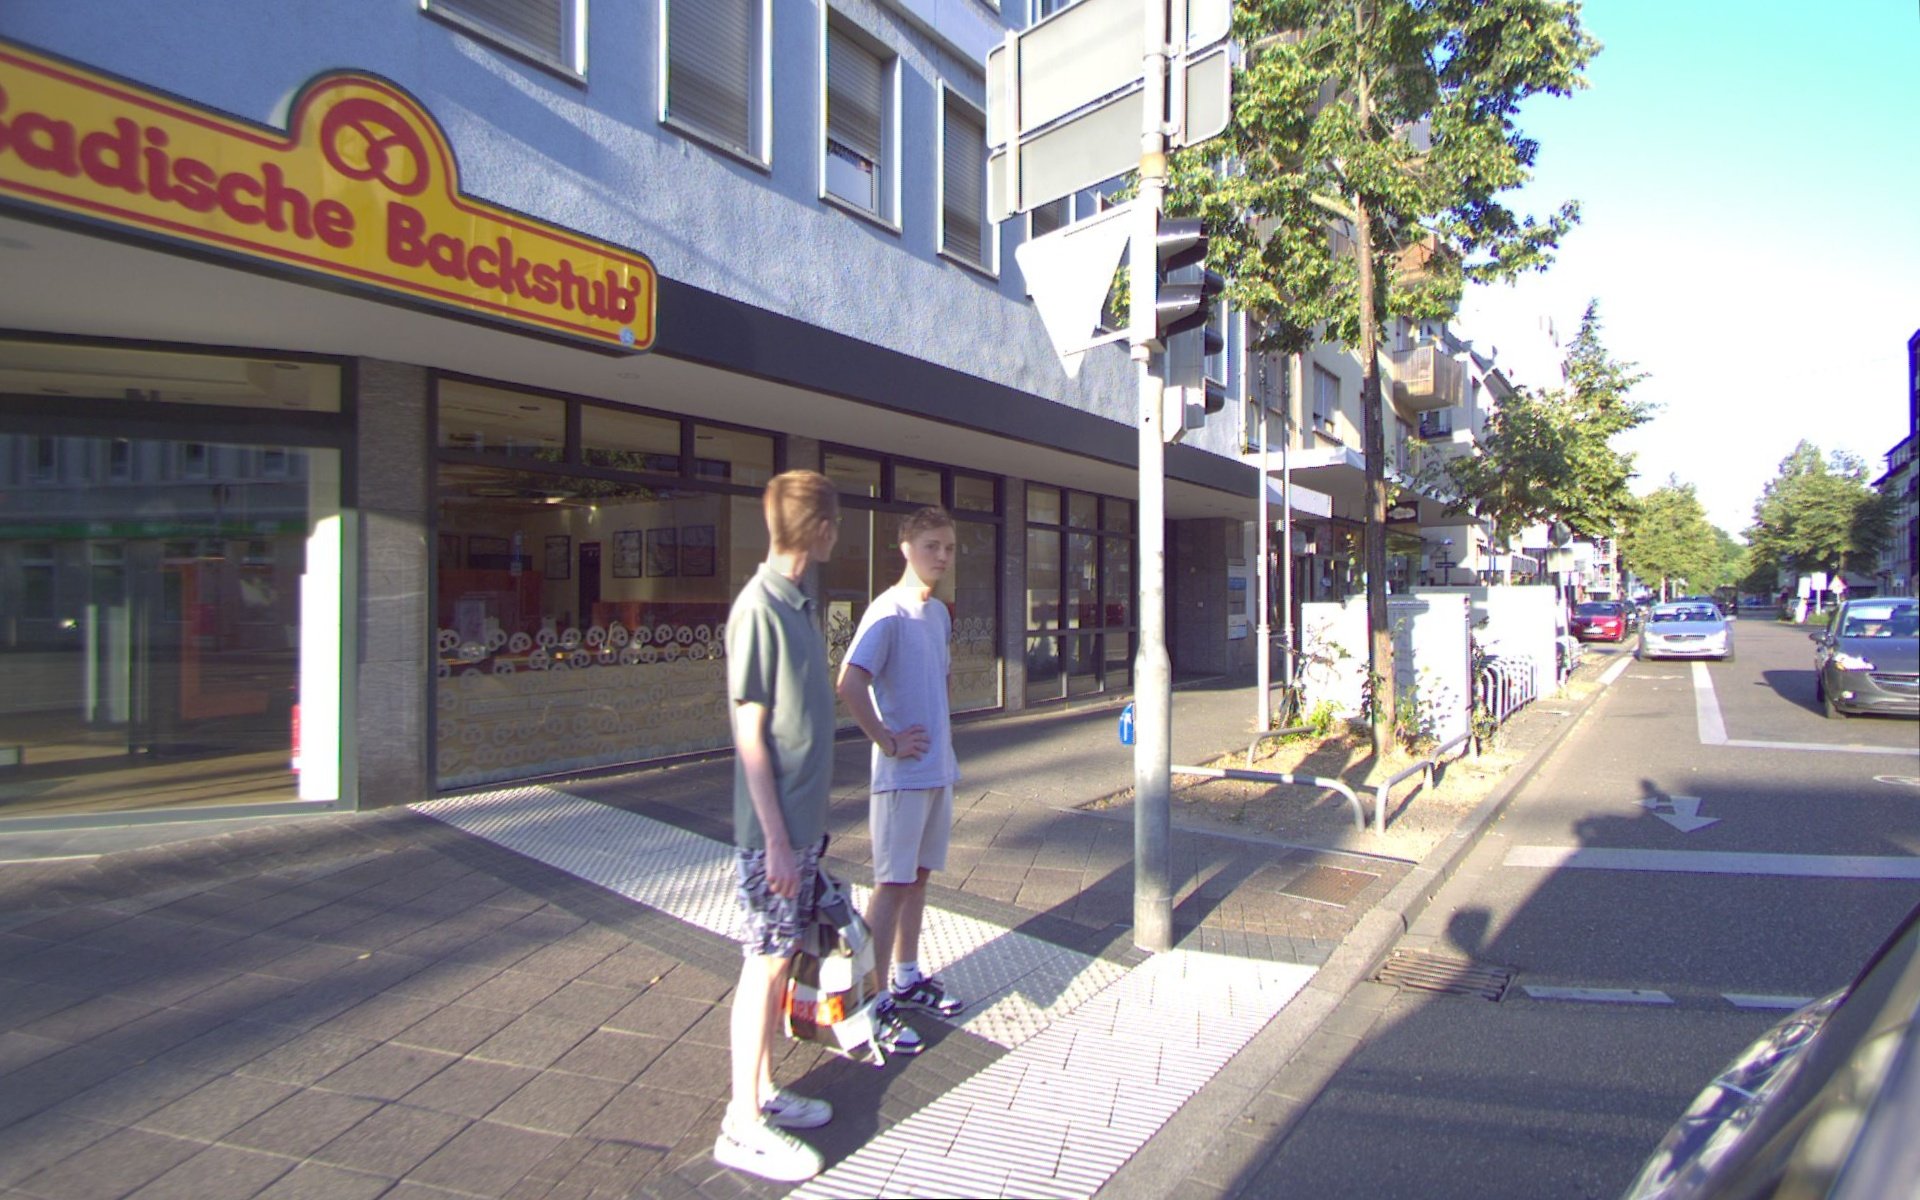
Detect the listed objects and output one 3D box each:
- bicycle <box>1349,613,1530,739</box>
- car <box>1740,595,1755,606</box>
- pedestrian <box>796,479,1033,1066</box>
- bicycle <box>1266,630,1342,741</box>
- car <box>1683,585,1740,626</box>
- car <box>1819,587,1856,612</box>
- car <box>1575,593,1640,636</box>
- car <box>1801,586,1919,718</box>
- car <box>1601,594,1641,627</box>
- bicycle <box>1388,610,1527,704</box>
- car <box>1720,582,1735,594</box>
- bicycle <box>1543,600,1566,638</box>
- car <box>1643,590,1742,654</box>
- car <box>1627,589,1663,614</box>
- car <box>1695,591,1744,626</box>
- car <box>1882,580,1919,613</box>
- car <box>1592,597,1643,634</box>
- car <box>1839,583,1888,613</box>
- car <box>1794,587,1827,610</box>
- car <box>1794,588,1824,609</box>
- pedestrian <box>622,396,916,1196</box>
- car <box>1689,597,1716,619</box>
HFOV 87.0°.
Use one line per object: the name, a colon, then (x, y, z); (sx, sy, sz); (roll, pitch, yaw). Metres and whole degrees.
bicycle: (4.924, 0.743, 10.439); (1.649, 1.209, 0.472); (0, -1, 33)
car: (138.316, 0.053, 177.811); (1.839, 1.829, 3.531); (-2, 0, 42)
pedestrian: (-0.128, 0.525, 3.550); (0.630, 1.795, 0.746); (0, 0, 16)
bicycle: (3.682, 0.860, 10.760); (0.401, 1.023, 1.652); (2, 1, 31)
car: (32.514, 0.211, 43.820); (1.886, 1.663, 3.701); (-1, 0, 36)
car: (64.580, -0.079, 74.541); (1.756, 1.795, 3.821); (0, 0, 37)
car: (23.161, 0.497, 36.143); (1.644, 1.447, 3.947); (-2, -1, 36)
car: (11.930, 0.564, 12.780); (1.577, 1.471, 3.797); (-1, 0, 33)
car: (31.203, 0.483, 47.729); (1.423, 1.469, 3.337); (-1, 0, 36)
bicycle: (6.641, 0.739, 13.585); (1.644, 1.209, 0.490); (0, 0, 25)
car: (112.853, -1.723, 148.817); (1.664, 1.660, 3.213); (-2, 0, 37)
bicycle: (20.594, 0.652, 35.060); (0.502, 1.253, 1.690); (1, 2, 36)
car: (18.041, 0.490, 24.906); (1.781, 1.387, 4.512); (-2, 0, 37)
car: (44.508, 0.058, 65.696); (1.756, 1.592, 3.821); (1, 1, 37)
car: (36.067, 0.385, 48.141); (1.681, 1.562, 3.685); (-2, 0, 35)
car: (51.159, -0.216, 54.391); (1.871, 1.698, 3.985); (-2, 0, 36)
car: (27.202, 0.632, 41.829); (1.605, 1.412, 3.648); (-2, -1, 35)
car: (54.343, -0.140, 60.948); (1.786, 1.635, 3.921); (-2, 0, 37)
car: (68.918, -0.118, 82.025); (1.778, 1.795, 3.821); (0, 0, 37)
car: (74.950, -0.154, 89.392); (1.756, 1.795, 3.821); (0, 0, 37)
pedestrian: (-0.457, 0.436, 2.679); (0.576, 1.795, 0.748); (0, 0, 6)
car: (60.203, 0.615, 82.096); (1.683, 1.675, 3.685); (-2, 0, 36)
